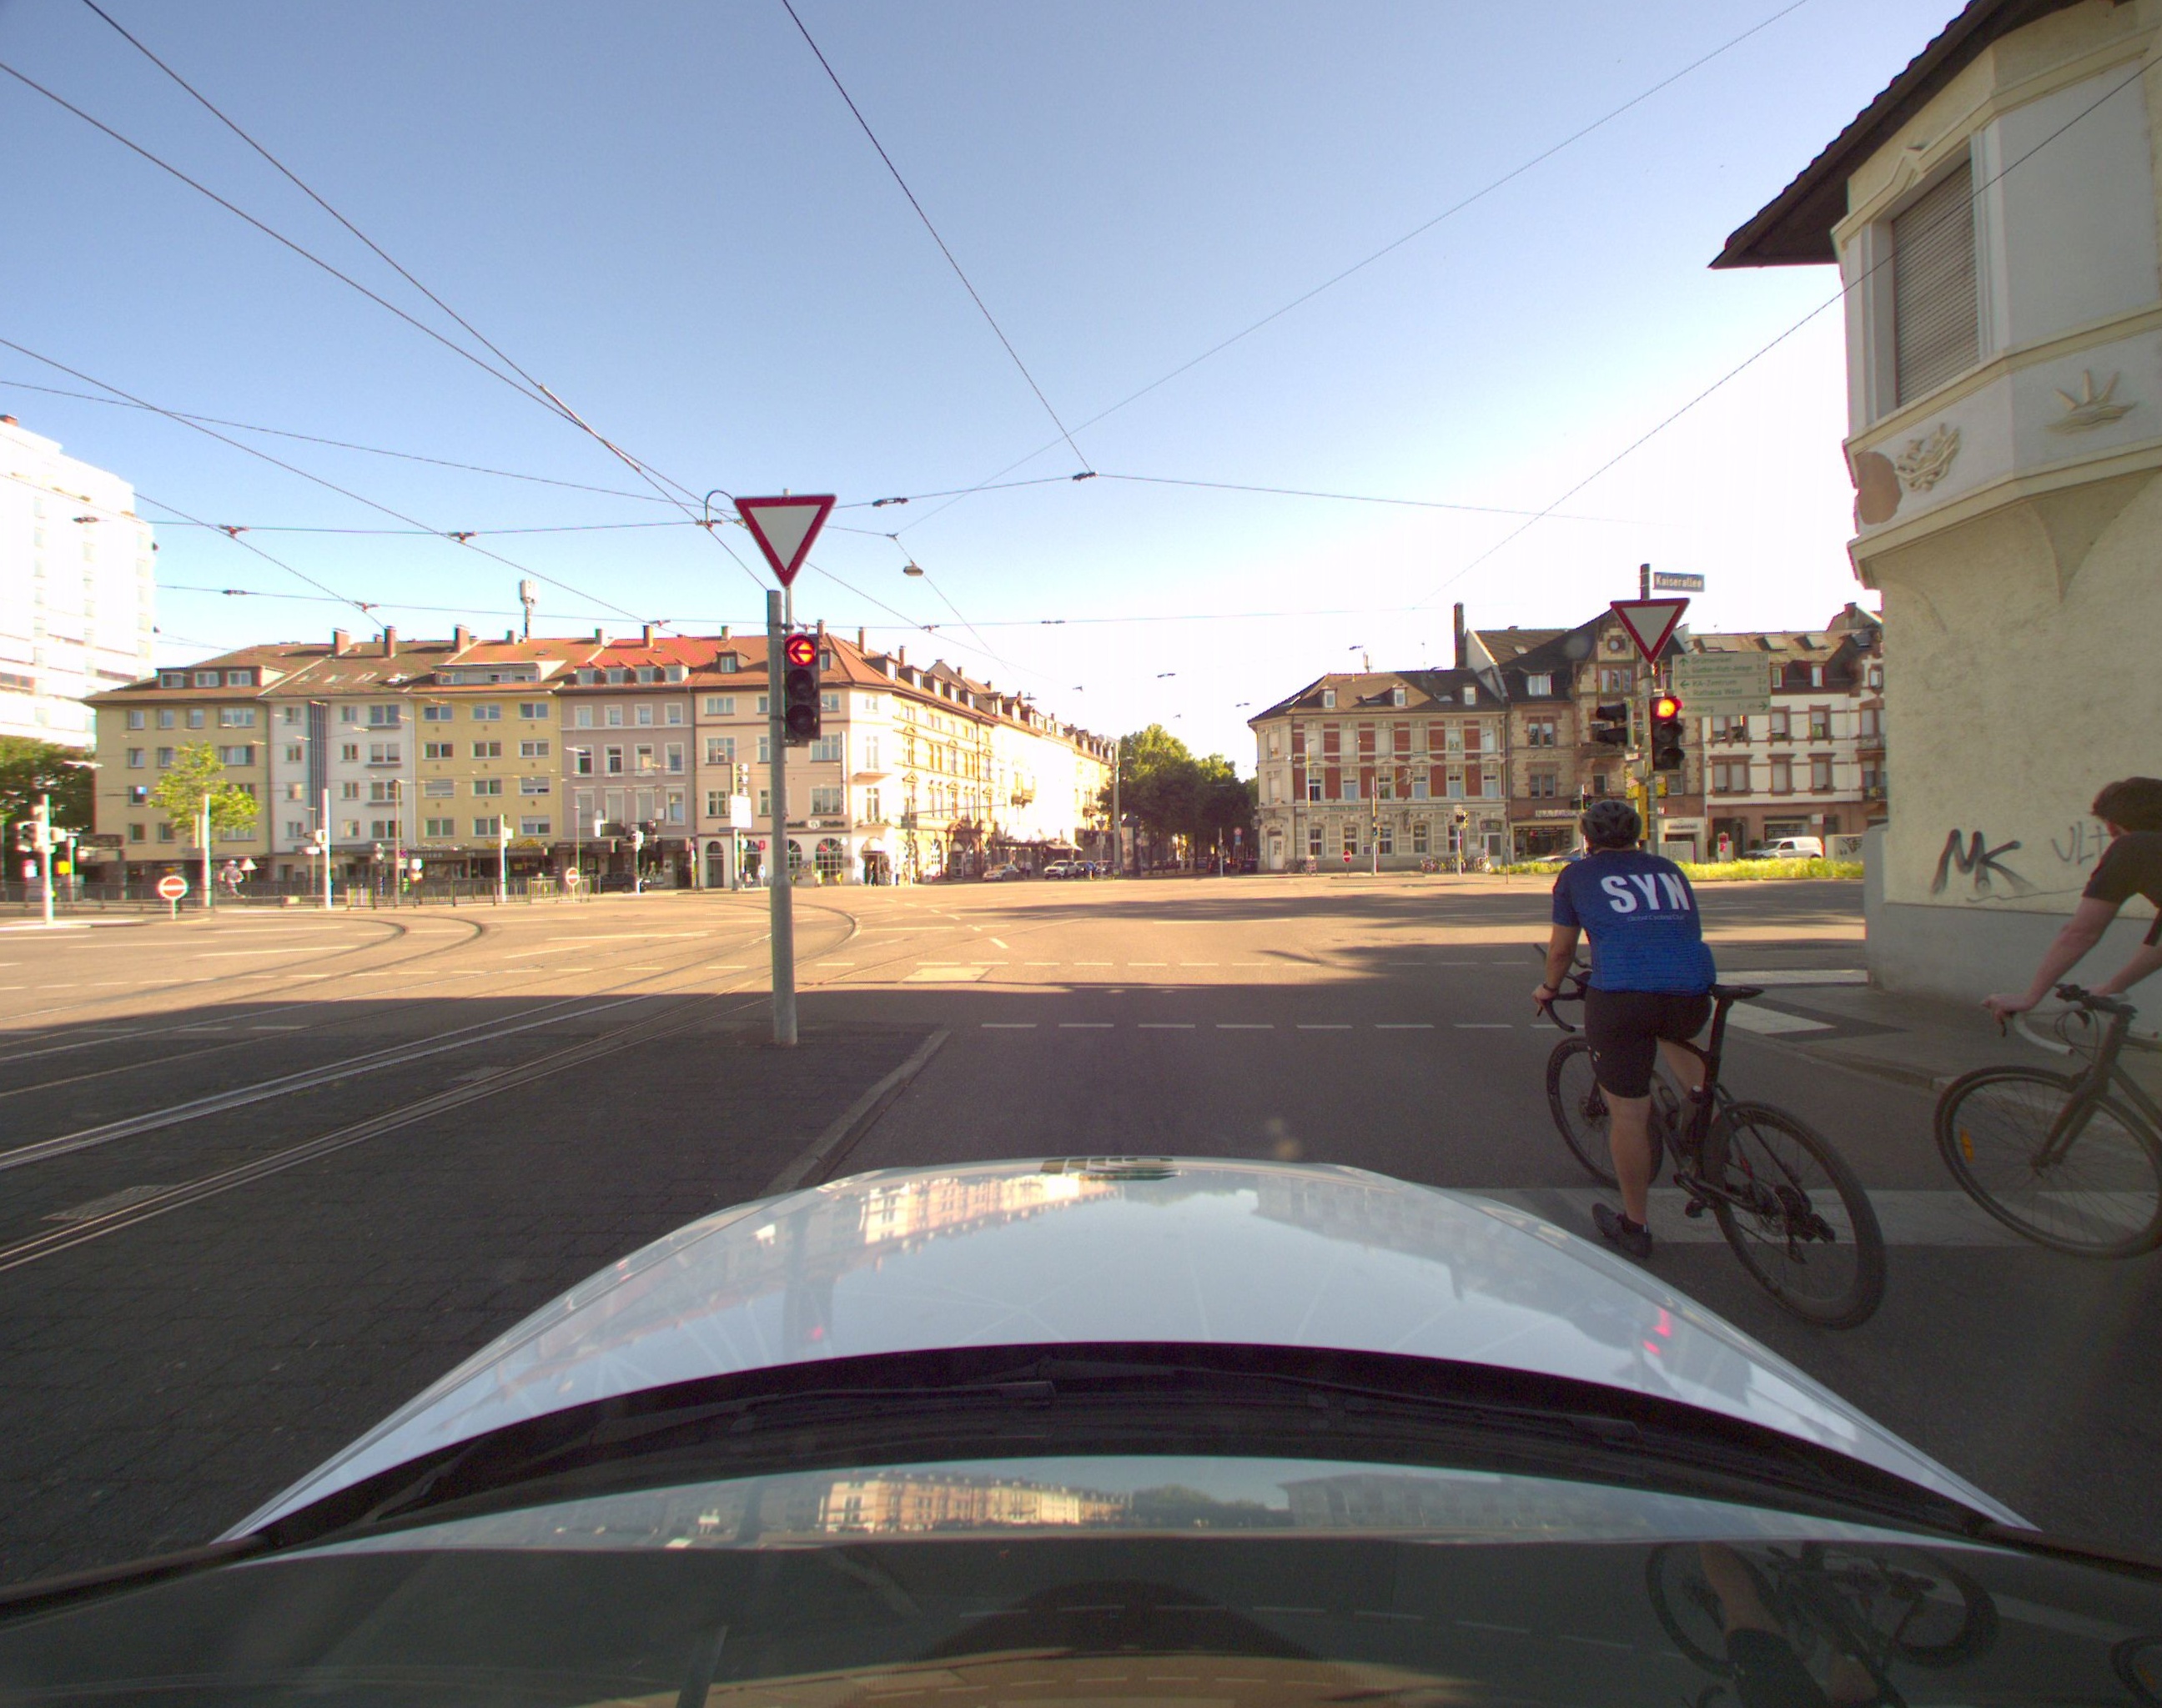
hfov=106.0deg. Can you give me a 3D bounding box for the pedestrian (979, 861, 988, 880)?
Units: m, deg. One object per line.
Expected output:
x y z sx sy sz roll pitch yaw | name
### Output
-8.527 1.475 71.279 0.539 1.631 0.709 -1 -1 15 | pedestrian

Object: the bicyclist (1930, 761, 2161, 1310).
3.561 0.530 2.580 0.803 1.606 0.883 0 -1 0 | bicyclist

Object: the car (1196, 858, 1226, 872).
18.344 1.563 114.721 3.955 1.904 2.009 -1 -1 17 | car

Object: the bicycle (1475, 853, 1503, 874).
26.197 0.607 52.350 0.626 1.287 2.663 0 -1 3 | bicycle

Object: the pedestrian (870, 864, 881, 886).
-14.262 1.457 56.591 0.631 1.477 0.465 0 -1 -2 | pedestrian

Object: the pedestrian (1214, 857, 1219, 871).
17.506 1.252 105.045 0.635 1.796 0.492 -1 -1 14 | pedestrian

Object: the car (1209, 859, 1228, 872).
14.359 1.208 85.153 1.742 1.362 3.869 -1 -1 13 | car

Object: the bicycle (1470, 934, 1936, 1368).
2.192 0.933 3.199 0.623 1.085 1.705 0 -1 5 | bicycle

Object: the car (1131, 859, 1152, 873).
8.403 1.621 112.690 1.977 1.904 4.019 -1 -1 19 | car

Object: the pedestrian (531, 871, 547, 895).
-37.895 2.008 56.946 0.631 1.634 0.700 0 -1 -2 | pedestrian

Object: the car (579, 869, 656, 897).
-30.588 1.918 53.817 3.962 1.670 2.006 -2 0 10 | car

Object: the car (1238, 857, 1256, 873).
16.821 1.125 82.359 1.680 1.565 3.855 -1 -1 14 | car

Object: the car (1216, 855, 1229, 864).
23.307 0.918 134.383 1.546 1.513 3.673 -1 -1 19 | car

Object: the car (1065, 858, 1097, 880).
0.053 1.370 74.034 1.979 1.904 4.015 -1 -1 14 | car

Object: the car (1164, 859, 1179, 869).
14.703 1.585 131.873 1.546 1.513 3.673 -1 -1 19 | car

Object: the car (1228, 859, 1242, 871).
21.393 1.516 113.035 1.759 1.530 4.015 -1 -1 14 | car

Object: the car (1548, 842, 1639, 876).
28.342 0.275 45.134 3.769 1.778 2.000 0 -1 1 | car

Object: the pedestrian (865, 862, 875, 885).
-14.811 1.395 57.179 0.631 1.612 0.465 0 -1 -2 | pedestrian

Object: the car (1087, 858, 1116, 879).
2.048 1.402 79.835 1.979 1.904 4.015 -1 -1 14 | car

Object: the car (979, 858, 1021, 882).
-6.651 1.322 67.390 1.977 1.904 4.019 -1 -1 19 | car

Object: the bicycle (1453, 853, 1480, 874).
24.775 0.614 52.383 0.626 1.287 2.663 0 -1 3 | bicycle

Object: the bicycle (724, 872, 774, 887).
-23.424 1.790 57.465 3.118 0.980 1.002 0 -1 1 | bicycle

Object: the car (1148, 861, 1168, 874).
11.559 2.021 122.288 1.977 1.904 4.019 -1 -1 19 | car

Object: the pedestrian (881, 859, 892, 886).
-13.709 1.285 57.470 0.631 1.881 0.465 0 -1 -2 | pedestrian

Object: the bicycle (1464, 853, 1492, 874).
25.502 0.607 52.379 0.626 1.287 2.663 0 -1 3 | bicycle

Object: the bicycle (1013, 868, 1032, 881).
-4.730 1.634 65.556 0.756 1.008 2.406 -1 -1 16 | bicycle

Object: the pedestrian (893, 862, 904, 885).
-12.636 1.344 56.365 0.631 1.634 0.700 0 -1 -2 | pedestrian

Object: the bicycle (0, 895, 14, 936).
-28.771 1.638 20.937 0.573 1.070 1.787 0 -1 -12 | bicycle

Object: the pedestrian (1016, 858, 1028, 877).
-4.759 1.105 65.488 0.814 1.512 0.601 -1 -1 16 | pedestrian

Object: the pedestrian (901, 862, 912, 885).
-12.331 1.367 57.679 0.631 1.634 0.700 0 -1 -2 | pedestrian

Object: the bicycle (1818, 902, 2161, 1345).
3.543 0.821 2.645 0.752 1.236 1.702 0 -1 0 | bicycle

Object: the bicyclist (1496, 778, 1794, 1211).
2.174 0.478 3.264 0.635 1.494 0.885 0 1 6 | bicyclist

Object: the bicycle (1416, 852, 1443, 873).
22.448 0.545 52.492 0.689 1.287 2.663 0 -1 3 | bicycle

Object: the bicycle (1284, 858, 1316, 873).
15.305 0.808 56.871 2.040 0.998 0.631 -1 -1 4 | bicycle

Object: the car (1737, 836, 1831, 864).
45.311 -0.233 52.563 4.349 1.778 2.000 0 -1 1 | car

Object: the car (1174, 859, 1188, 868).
16.711 1.554 135.909 1.546 1.513 3.673 -1 -1 19 | car

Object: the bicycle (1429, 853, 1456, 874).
23.261 0.590 52.419 0.689 1.287 2.663 0 -1 3 | bicycle

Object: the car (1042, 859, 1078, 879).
-1.692 1.198 67.492 1.979 1.618 4.015 -1 -1 14 | car

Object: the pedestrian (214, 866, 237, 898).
-43.915 1.418 41.815 0.523 1.628 0.577 0 -1 0 | pedestrian

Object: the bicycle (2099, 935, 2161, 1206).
4.481 0.844 2.458 0.647 1.031 1.772 0 -1 3 | bicycle

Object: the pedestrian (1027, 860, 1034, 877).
-4.983 1.456 80.294 0.539 1.631 0.709 -1 -1 15 | pedestrian

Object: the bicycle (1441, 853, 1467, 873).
23.984 0.585 52.412 0.626 1.287 2.663 0 -1 3 | bicycle
